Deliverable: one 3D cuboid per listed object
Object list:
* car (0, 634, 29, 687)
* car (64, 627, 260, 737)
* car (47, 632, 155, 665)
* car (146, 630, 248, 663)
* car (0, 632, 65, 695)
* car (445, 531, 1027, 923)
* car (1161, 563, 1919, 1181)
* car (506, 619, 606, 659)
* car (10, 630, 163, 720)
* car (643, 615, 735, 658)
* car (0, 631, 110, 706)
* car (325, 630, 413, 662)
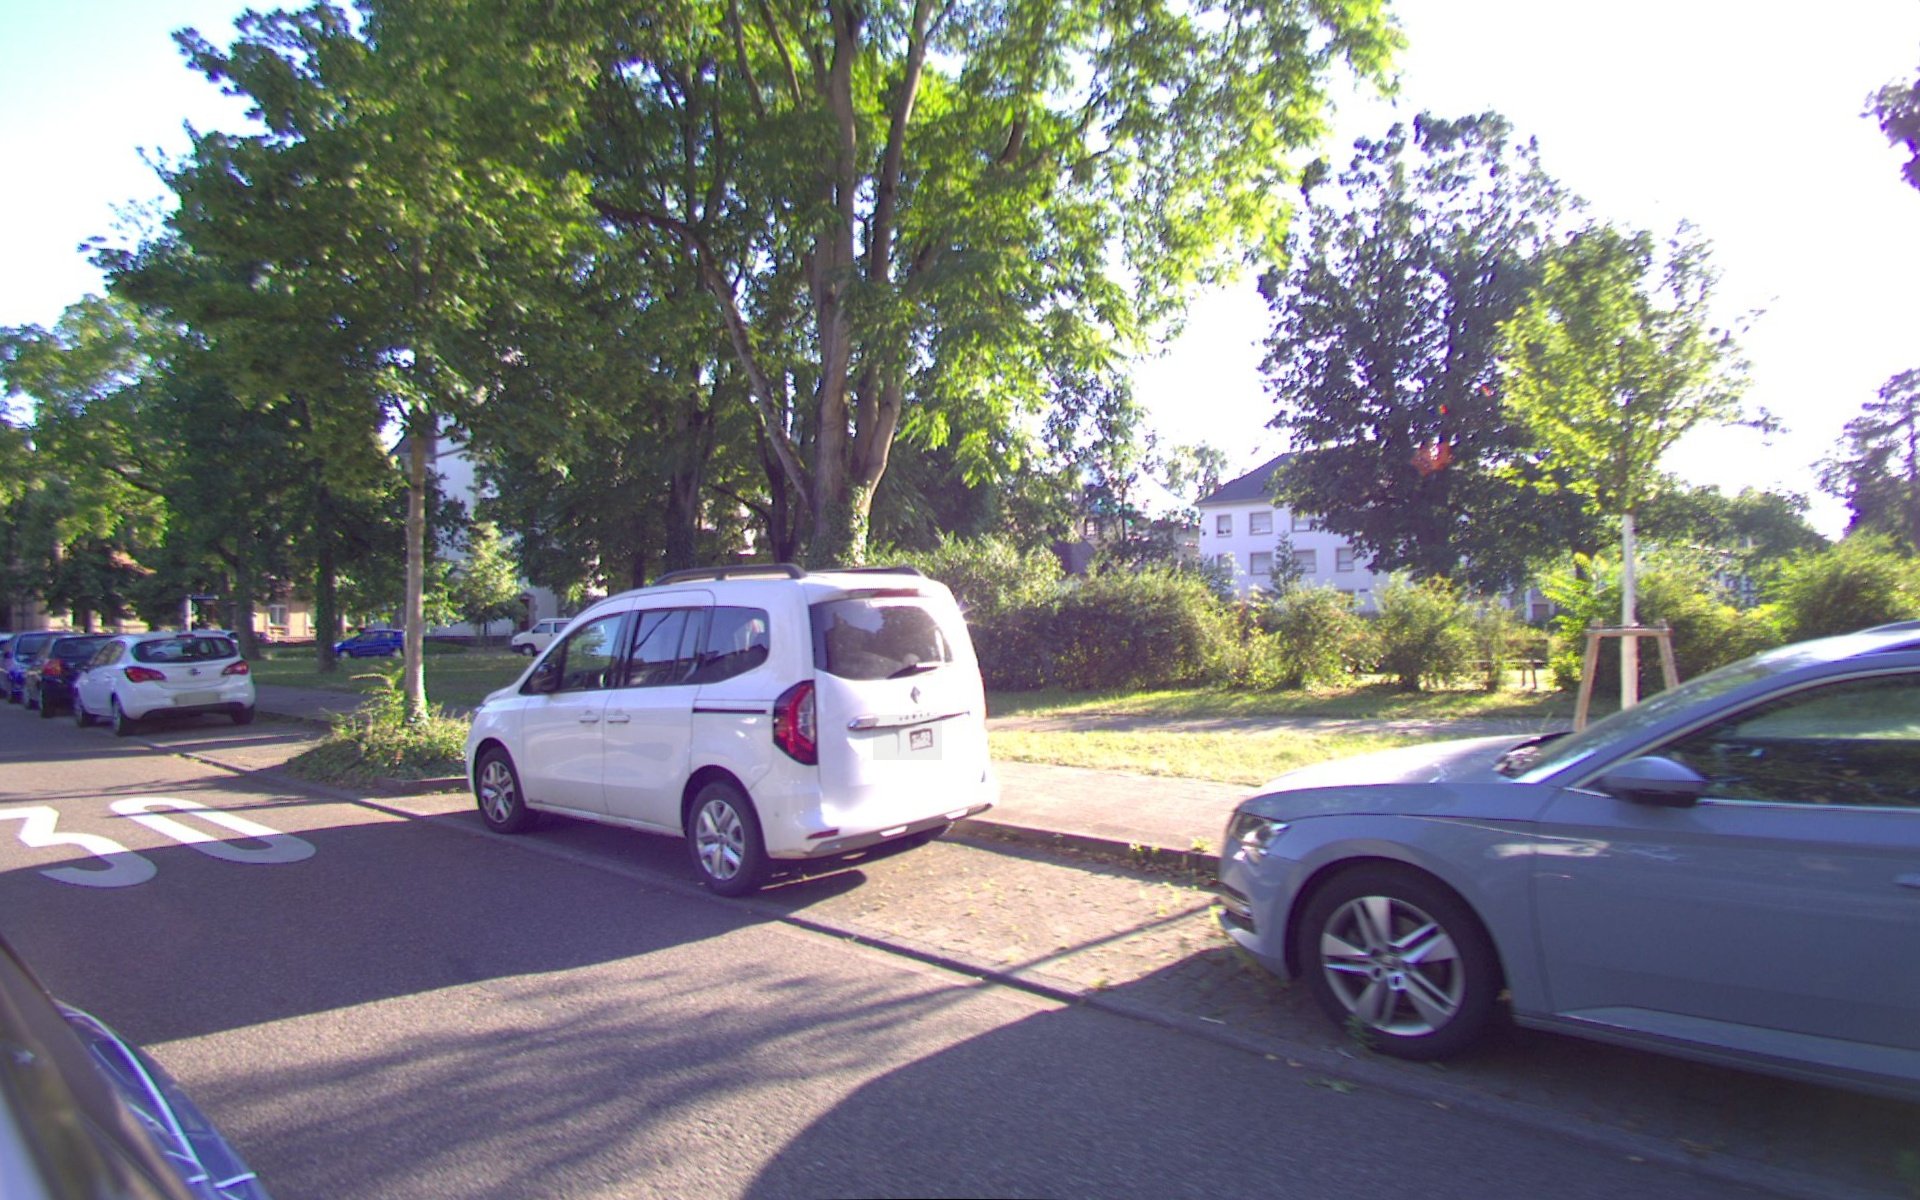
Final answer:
[{"bbox_3d":[-29.411,1.796,30.425,3.677,1.521,1.694,-2,-2,41],"label":"car"},{"bbox_3d":[-12.575,1.209,15.913,3.305,1.521,1.696,-2,-2,38],"label":"car"},{"bbox_3d":[-40.641,2.277,47.950,3.514,1.509,1.694,0,-1,-16],"label":"car"},{"bbox_3d":[-36.676,2.224,48.727,3.514,1.509,1.694,0,-1,-16],"label":"car"},{"bbox_3d":[-24.521,1.608,26.096,3.677,1.521,1.694,-2,-2,41],"label":"car"},{"bbox_3d":[-1.765,0.671,7.042,4.235,1.931,1.739,-2,-1,40],"label":"car"},{"bbox_3d":[3.228,0.694,3.118,4.834,1.570,1.843,-2,-2,40],"label":"car"},{"bbox_3d":[-21.007,2.013,52.807,4.692,1.931,1.802,0,-1,-16],"label":"car"},{"bbox_3d":[-16.626,1.344,19.224,3.677,1.521,1.694,-2,-2,41],"label":"car"},{"bbox_3d":[-14.689,1.961,54.801,4.691,2.239,1.857,0,-2,-17],"label":"car"},{"bbox_3d":[-20.431,1.470,22.602,3.677,1.521,1.694,-2,-2,41],"label":"car"},{"bbox_3d":[-29.470,2.255,50.572,3.514,1.509,1.680,0,-1,-16],"label":"car"}]
